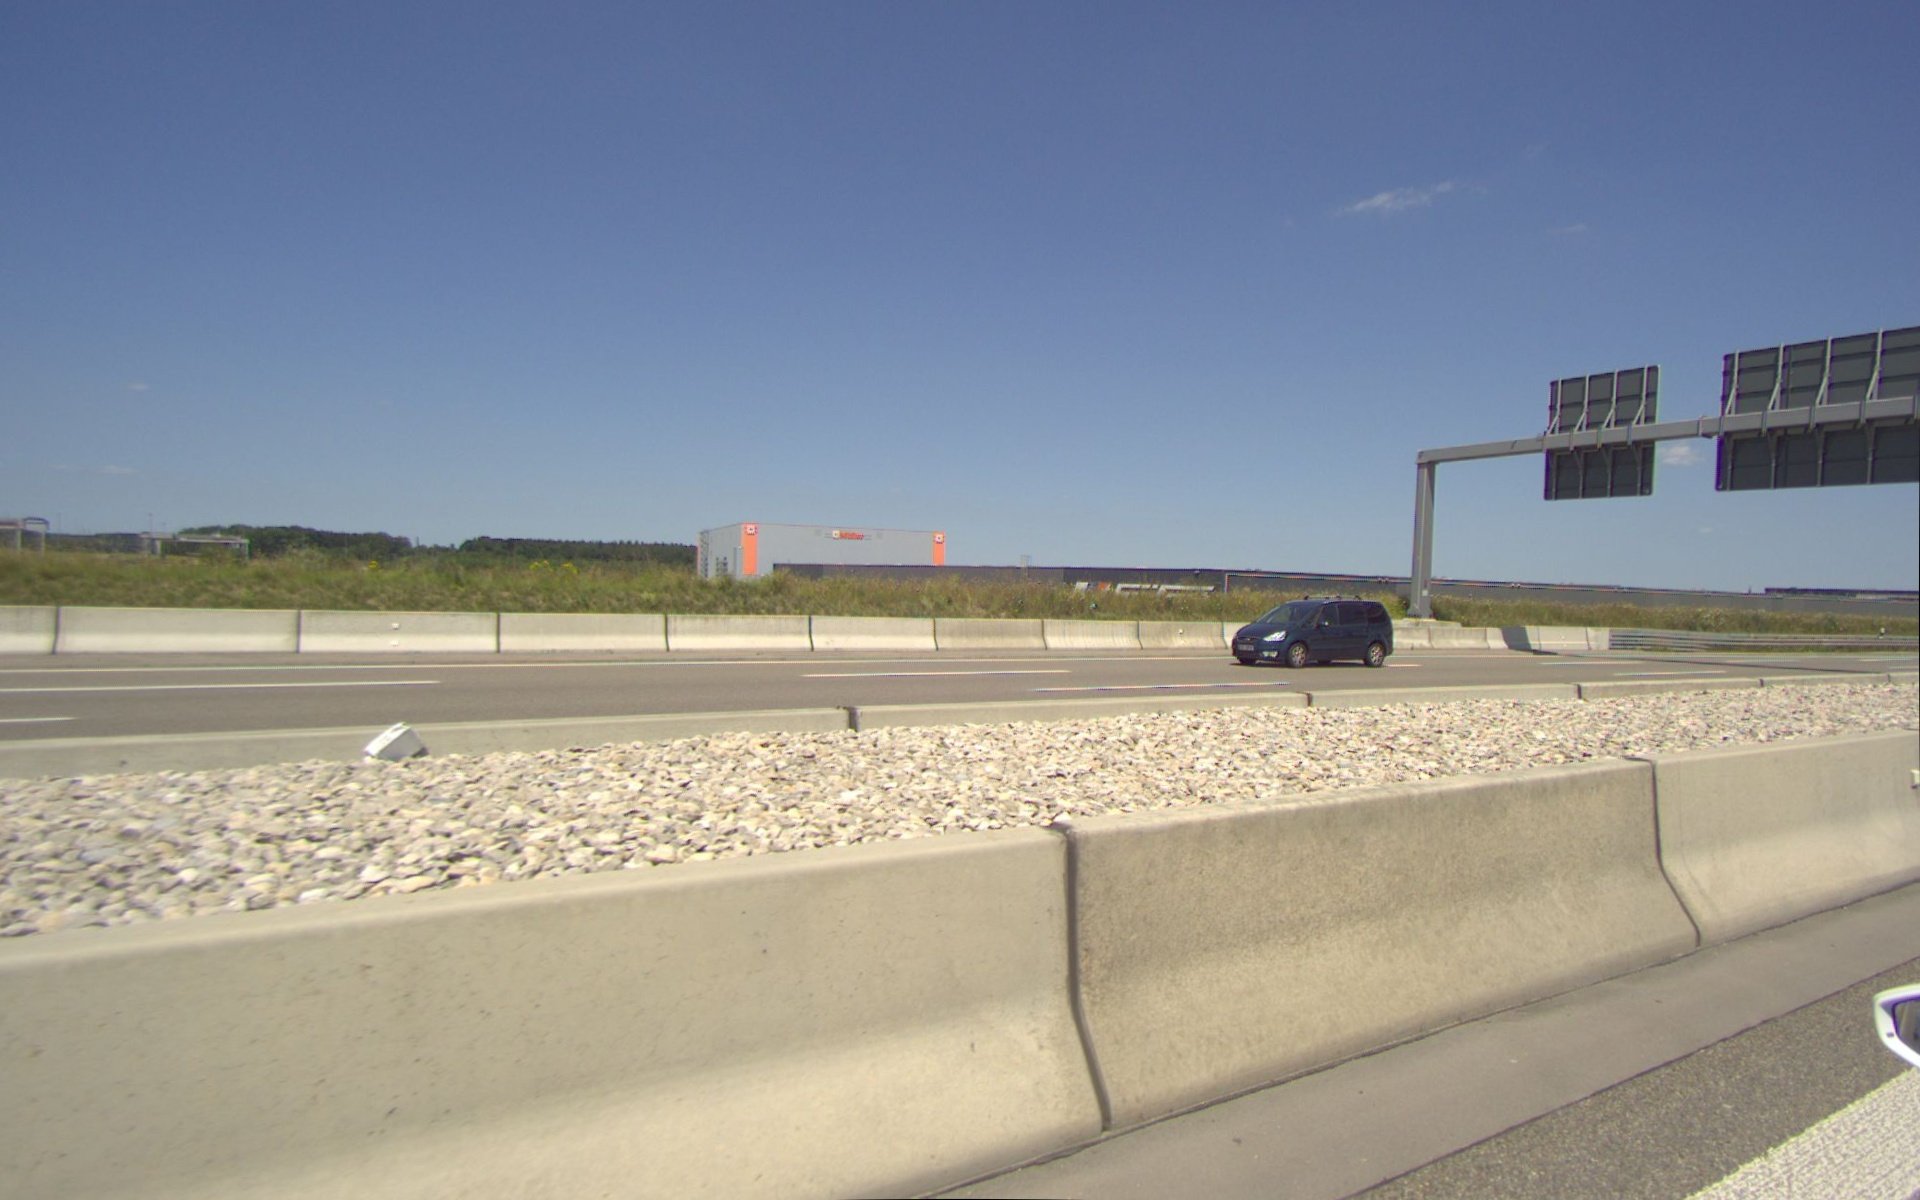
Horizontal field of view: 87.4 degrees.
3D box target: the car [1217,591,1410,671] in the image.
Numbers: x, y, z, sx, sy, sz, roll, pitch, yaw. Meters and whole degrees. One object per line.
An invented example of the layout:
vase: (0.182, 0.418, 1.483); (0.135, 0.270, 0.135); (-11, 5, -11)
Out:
car: (9.017, 0.774, 25.536); (4.860, 1.848, 1.839); (1, 0, -28)
